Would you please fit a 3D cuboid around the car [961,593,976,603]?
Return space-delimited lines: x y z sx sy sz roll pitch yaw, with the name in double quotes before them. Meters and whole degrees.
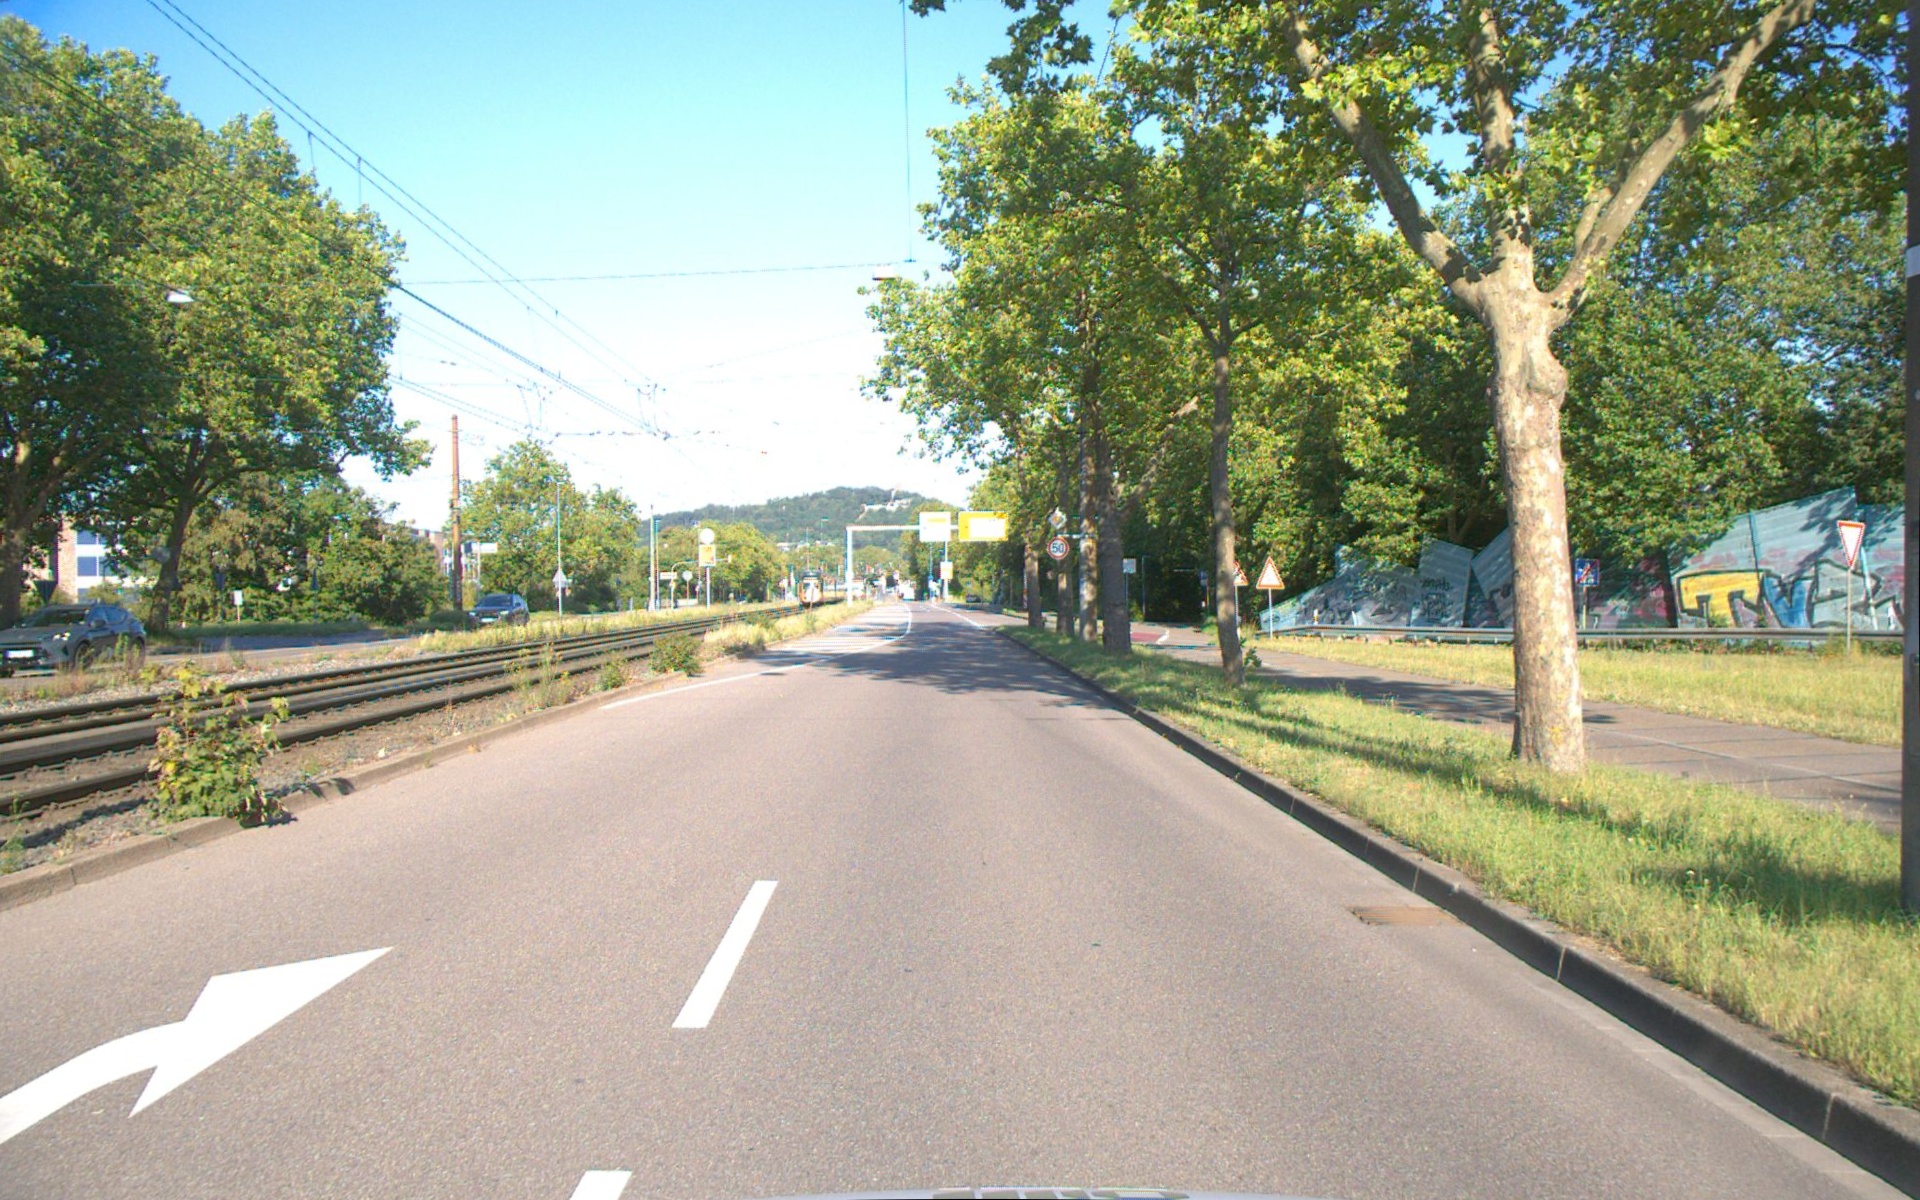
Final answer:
"car" 1.328 -0.319 256.131 2.042 1.593 3.957 0 0 4

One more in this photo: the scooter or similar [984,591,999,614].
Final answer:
"scooter or similar" 3.809 0.245 202.177 1.647 2.763 4.867 0 0 -2

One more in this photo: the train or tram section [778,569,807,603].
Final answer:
"train or tram section" -20.000 -1.663 198.148 2.748 3.971 12.326 0 0 -3

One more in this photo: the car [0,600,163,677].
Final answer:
"car" -19.243 0.795 36.170 1.677 1.493 4.345 -3 0 -3

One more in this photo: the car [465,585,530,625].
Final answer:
"car" -21.551 0.210 77.227 1.861 1.724 4.937 -2 0 -4
